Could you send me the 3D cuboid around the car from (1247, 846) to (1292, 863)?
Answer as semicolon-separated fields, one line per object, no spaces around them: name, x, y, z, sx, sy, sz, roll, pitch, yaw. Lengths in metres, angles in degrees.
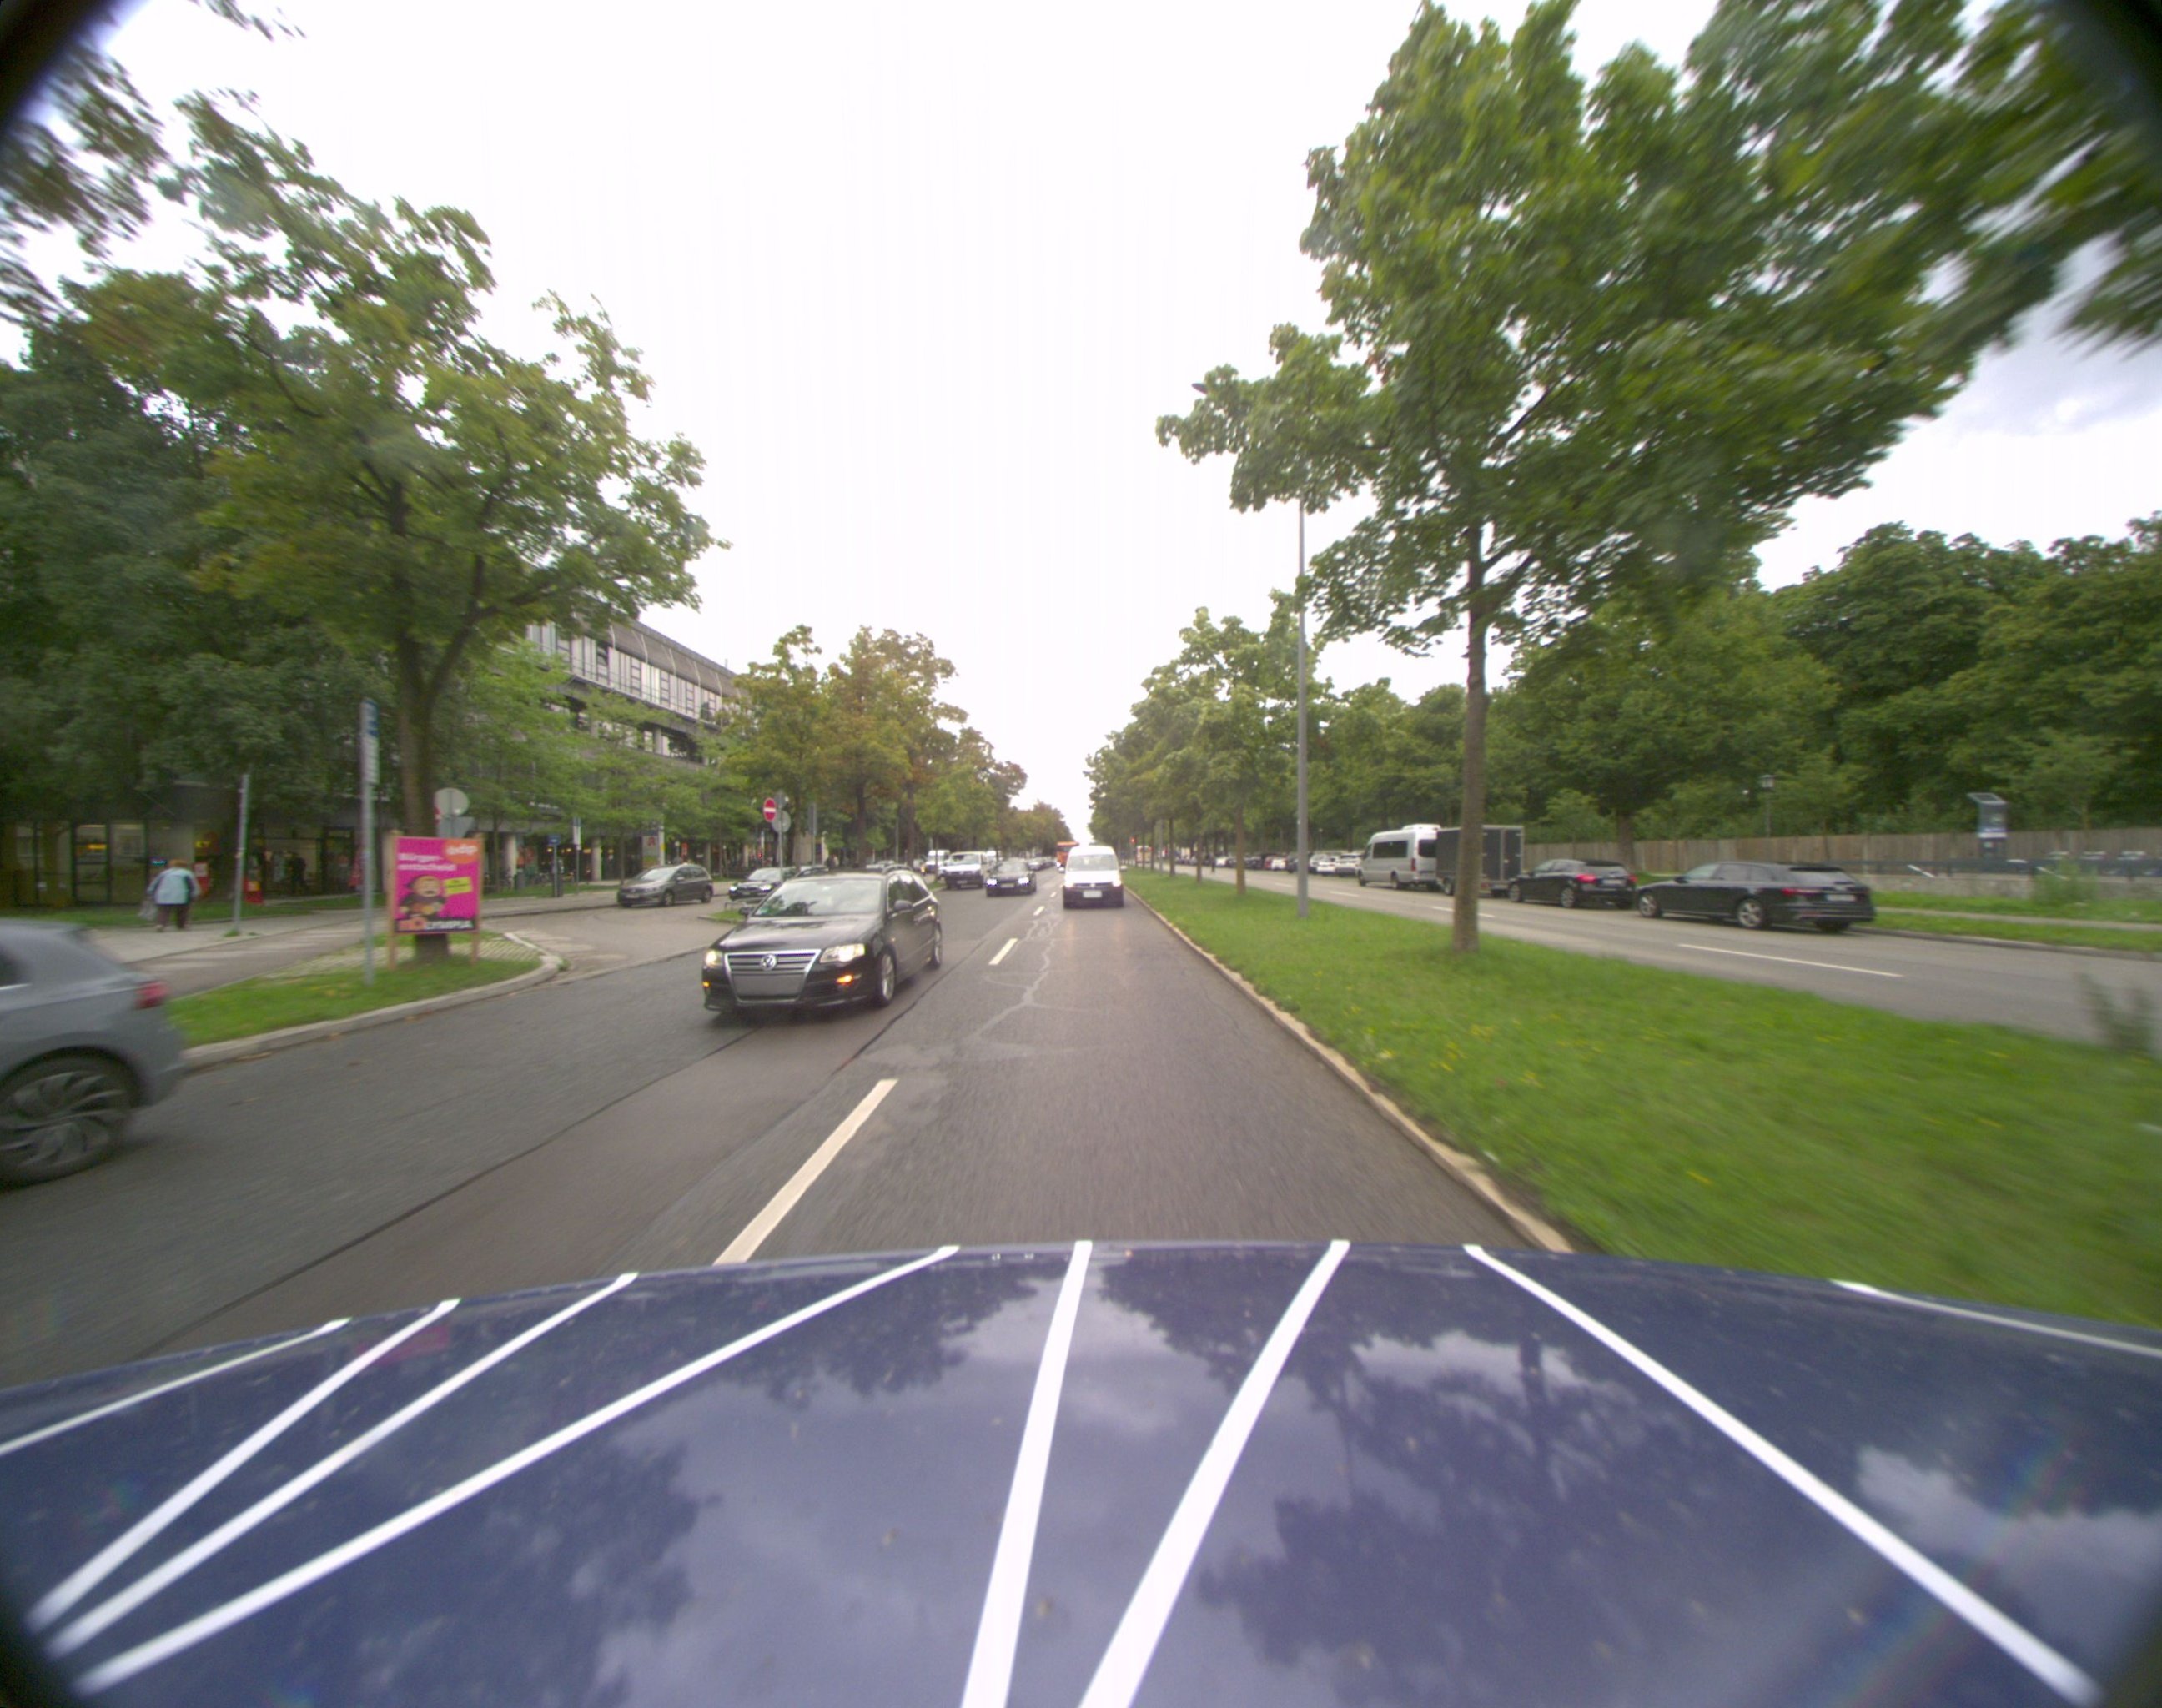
car;18.909;0.037;76.225;4.005;1.548;1.888;-3;0;-27

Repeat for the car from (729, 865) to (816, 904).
car;-13.063;1.241;32.442;1.726;1.371;4.352;-2;1;3

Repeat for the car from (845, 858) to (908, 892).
car;-10.037;0.976;37.668;1.732;1.424;4.691;-2;1;1

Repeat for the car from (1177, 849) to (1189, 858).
car;18.138;-0.099;135.720;1.889;1.435;4.169;-2;1;5

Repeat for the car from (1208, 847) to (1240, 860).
car;19.043;-0.060;101.247;4.006;1.632;1.887;-2;1;-33

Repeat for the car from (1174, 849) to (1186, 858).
car;18.418;-0.118;141.405;1.889;1.435;4.169;-2;1;5

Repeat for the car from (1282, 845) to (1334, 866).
car;19.091;0.112;63.895;4.005;1.577;1.798;-3;0;-28

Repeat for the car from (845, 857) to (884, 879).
car;-15.888;1.009;56.001;1.827;1.522;4.601;0;0;-3

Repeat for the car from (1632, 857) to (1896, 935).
car;14.521;0.793;16.580;1.804;1.417;4.431;1;0;1

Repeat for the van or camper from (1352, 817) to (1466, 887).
van or camper;14.761;-0.102;34.823;2.040;2.821;7.546;1;0;1

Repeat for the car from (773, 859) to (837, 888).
car;-15.684;1.057;43.473;1.826;1.522;4.602;0;0;3

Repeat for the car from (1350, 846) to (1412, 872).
car;19.132;0.304;48.427;4.007;1.457;1.797;-3;1;-36

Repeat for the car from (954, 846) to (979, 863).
car;-15.370;0.055;102.233;2.268;2.091;5.858;-1;0;1

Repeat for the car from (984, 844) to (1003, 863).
car;-13.006;-0.142;113.088;1.978;2.642;6.005;-2;0;1

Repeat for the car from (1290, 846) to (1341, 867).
car;18.826;0.209;60.953;4.006;1.477;1.797;-3;0;-34

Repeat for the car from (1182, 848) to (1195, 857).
car;17.949;-0.266;127.286;1.889;1.435;4.169;-2;1;5

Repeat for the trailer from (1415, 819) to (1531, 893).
trailer;14.657;0.055;28.771;2.022;2.575;4.658;1;0;1

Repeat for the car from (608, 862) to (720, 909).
car;-15.973;1.153;29.367;1.826;1.624;4.198;0;1;3

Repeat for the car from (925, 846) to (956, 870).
car;-15.640;0.416;84.738;2.268;2.514;5.858;-1;0;1

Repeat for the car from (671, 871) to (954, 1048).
car;-2.838;1.021;9.189;1.735;1.424;4.442;-2;0;1

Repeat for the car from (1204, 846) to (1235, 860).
car;18.994;-0.129;104.322;4.006;1.718;1.777;-2;1;-33

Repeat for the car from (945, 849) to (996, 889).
car;-5.865;0.739;40.815;1.886;1.916;4.933;-2;0;1

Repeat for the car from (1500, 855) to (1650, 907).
car;14.726;0.741;22.961;1.804;1.376;4.238;1;0;1

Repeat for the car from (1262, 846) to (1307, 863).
car;19.656;0.071;73.284;4.005;1.446;1.736;-3;0;-27

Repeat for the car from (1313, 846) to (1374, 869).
car;18.783;0.256;54.308;4.331;1.430;1.797;-2;1;-33

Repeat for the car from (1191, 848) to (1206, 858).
car;17.876;-0.150;115.867;1.889;1.435;4.169;-2;1;5

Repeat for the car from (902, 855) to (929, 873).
car;-15.824;0.971;72.800;1.865;1.624;4.340;0;1;-3

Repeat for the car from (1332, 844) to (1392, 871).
car;18.948;0.205;51.151;4.007;1.613;1.797;-3;1;-35

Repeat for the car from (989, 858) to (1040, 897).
car;-2.748;0.945;32.286;1.763;1.405;4.462;-2;0;0

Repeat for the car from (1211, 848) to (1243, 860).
car;18.777;0.008;97.705;4.006;1.358;1.588;-2;1;-30

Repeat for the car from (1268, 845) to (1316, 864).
car;19.508;0.046;70.206;4.005;1.455;1.888;-3;0;-27
